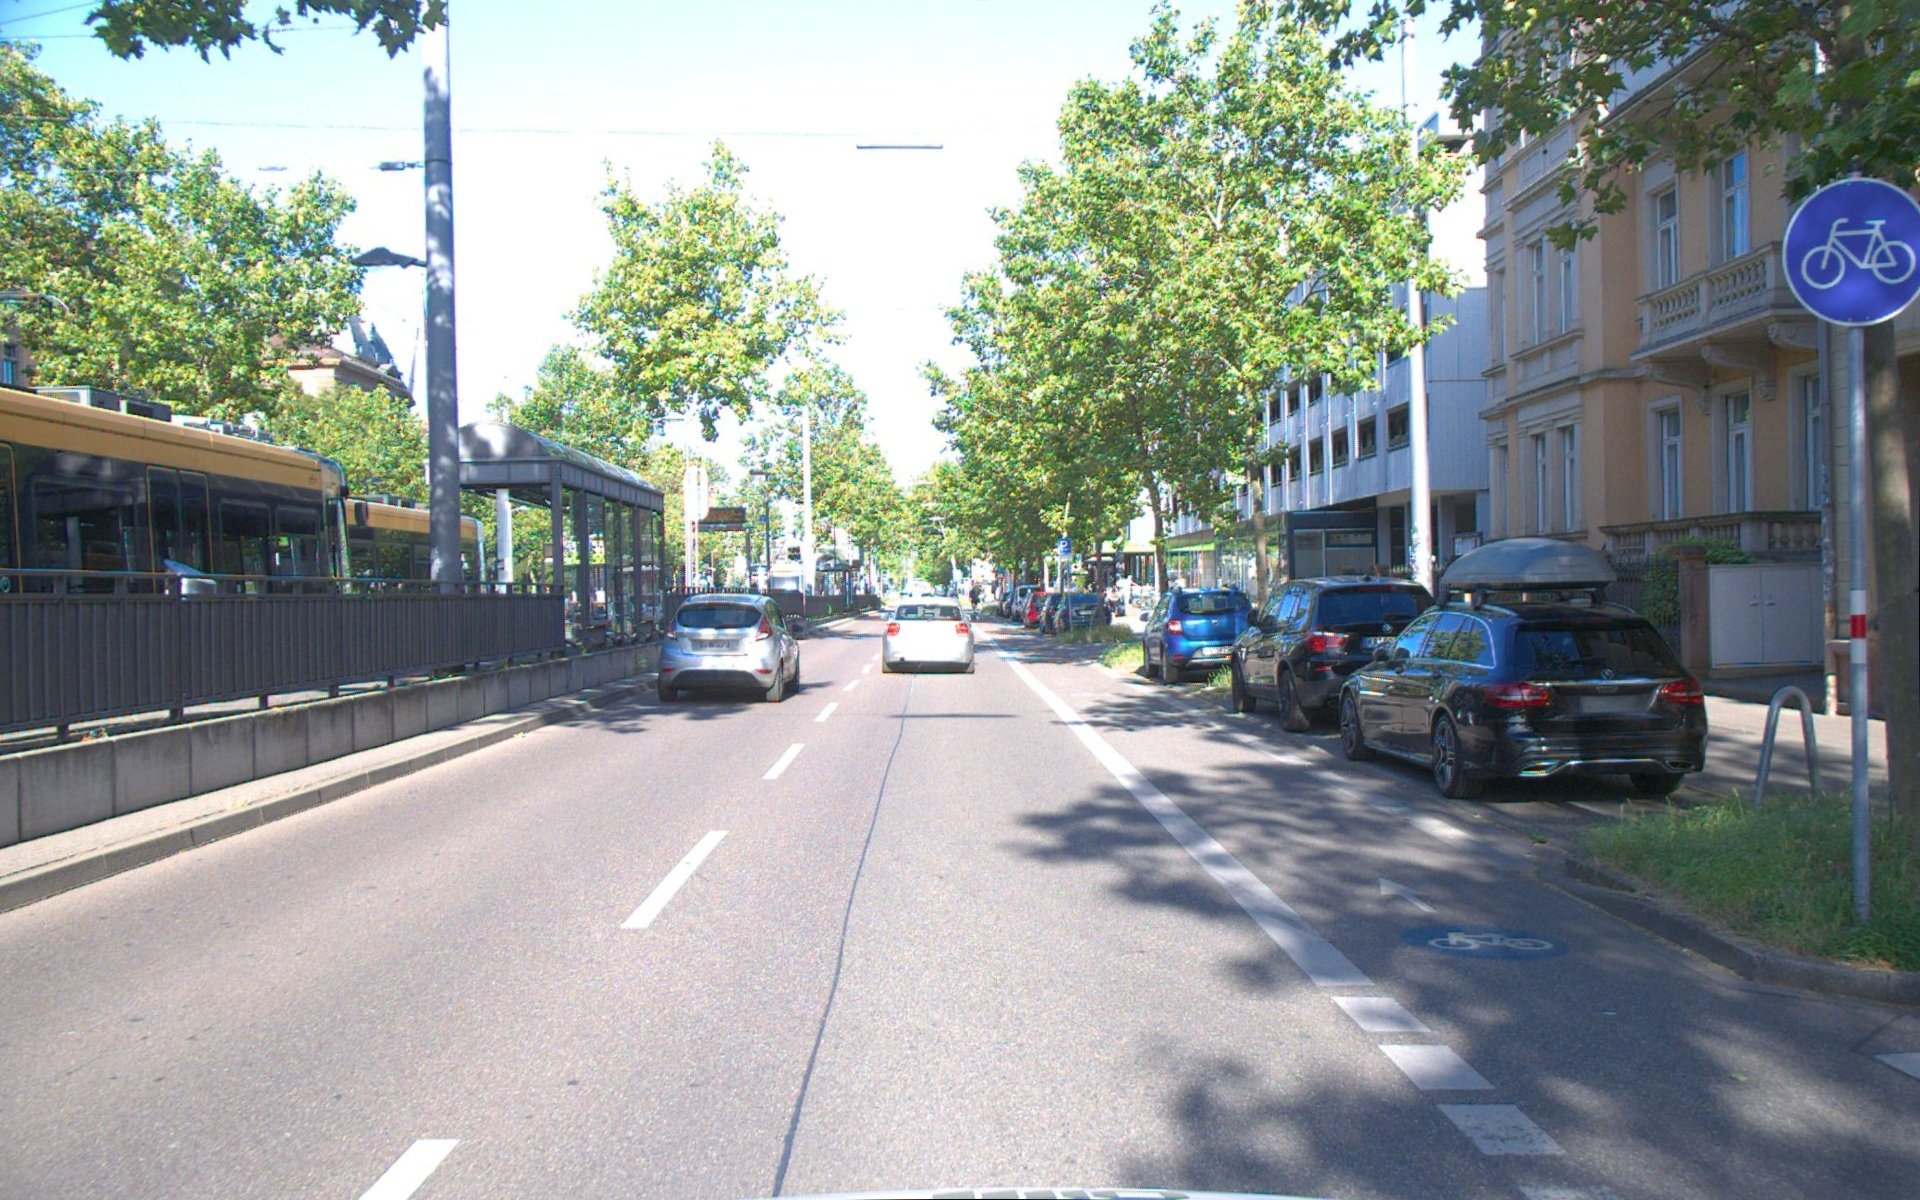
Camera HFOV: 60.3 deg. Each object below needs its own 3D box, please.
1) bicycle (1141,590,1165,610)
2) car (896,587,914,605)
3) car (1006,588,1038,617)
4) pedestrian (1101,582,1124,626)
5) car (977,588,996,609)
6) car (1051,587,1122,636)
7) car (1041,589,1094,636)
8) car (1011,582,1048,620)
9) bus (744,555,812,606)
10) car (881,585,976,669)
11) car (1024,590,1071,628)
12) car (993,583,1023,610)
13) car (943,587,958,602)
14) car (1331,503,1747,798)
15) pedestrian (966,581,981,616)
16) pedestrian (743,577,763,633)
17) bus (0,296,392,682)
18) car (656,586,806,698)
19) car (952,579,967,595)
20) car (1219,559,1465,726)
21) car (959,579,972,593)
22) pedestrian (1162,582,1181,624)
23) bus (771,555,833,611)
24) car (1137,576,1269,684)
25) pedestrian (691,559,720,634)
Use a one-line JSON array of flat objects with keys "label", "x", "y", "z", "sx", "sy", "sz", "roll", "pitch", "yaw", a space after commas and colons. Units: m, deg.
[{"label": "bicycle", "x": 10.997, "y": -0.005, "z": 94.307, "sx": 1.355, "sy": 1.074, "sz": 0.243, "roll": 1, "pitch": 1, "yaw": -2}, {"label": "car", "x": -6.456, "y": -0.485, "z": 195.259, "sx": 1.953, "sy": 2.048, "sz": 4.000, "roll": 1, "pitch": 1, "yaw": -1}, {"label": "car", "x": 3.556, "y": 0.116, "z": 95.415, "sx": 1.676, "sy": 1.590, "sz": 4.000, "roll": 1, "pitch": 1, "yaw": 0}, {"label": "pedestrian", "x": 7.108, "y": 0.189, "z": 76.966, "sx": 0.944, "sy": 2.049, "sz": 0.938, "roll": -1, "pitch": 0, "yaw": -1}, {"label": "car", "x": 2.770, "y": -0.149, "z": 173.081, "sx": 1.953, "sy": 2.048, "sz": 4.000, "roll": 1, "pitch": 1, "yaw": -1}, {"label": "car", "x": 4.176, "y": 0.369, "z": 55.083, "sx": 1.953, "sy": 1.535, "sz": 4.597, "roll": 1, "pitch": 0, "yaw": 0}, {"label": "car", "x": 3.875, "y": 0.434, "z": 60.302, "sx": 1.635, "sy": 1.578, "sz": 4.000, "roll": 1, "pitch": 1, "yaw": 0}, {"label": "car", "x": 3.602, "y": 0.020, "z": 85.967, "sx": 1.689, "sy": 1.913, "sz": 4.000, "roll": 1, "pitch": 0, "yaw": 0}, {"label": "bus", "x": -14.376, "y": -1.621, "z": 132.904, "sx": 2.810, "sy": 3.691, "sz": 24.602, "roll": -1, "pitch": 1, "yaw": 0}, {"label": "car", "x": -0.619, "y": 0.481, "z": 32.277, "sx": 1.726, "sy": 1.457, "sz": 3.999, "roll": 1, "pitch": 1, "yaw": -1}, {"label": "car", "x": 3.703, "y": 0.360, "z": 70.673, "sx": 1.769, "sy": 1.547, "sz": 4.000, "roll": 1, "pitch": 0, "yaw": -1}, {"label": "car", "x": 2.943, "y": -0.246, "z": 102.271, "sx": 1.666, "sy": 1.561, "sz": 3.716, "roll": 1, "pitch": 1, "yaw": -1}, {"label": "car", "x": -1.321, "y": -0.745, "z": 231.855, "sx": 2.029, "sy": 2.049, "sz": 4.000, "roll": -1, "pitch": 0, "yaw": 0}, {"label": "car", "x": 4.490, "y": 0.304, "z": 13.665, "sx": 1.719, "sy": 1.999, "sz": 4.737, "roll": 0, "pitch": 1, "yaw": -1}, {"label": "pedestrian", "x": 0.835, "y": -0.101, "z": 99.943, "sx": 0.820, "sy": 2.048, "sz": 0.649, "roll": 1, "pitch": 1, "yaw": 6}, {"label": "pedestrian", "x": -7.408, "y": 0.172, "z": 59.217, "sx": 0.626, "sy": 1.988, "sz": 0.813, "roll": 1, "pitch": 1, "yaw": -1}, {"label": "bus", "x": -10.147, "y": -1.021, "z": 19.673, "sx": 2.810, "sy": 3.504, "sz": 11.610, "roll": -1, "pitch": 0, "yaw": 0}, {"label": "car", "x": -3.169, "y": 0.535, "z": 23.542, "sx": 1.613, "sy": 1.386, "sz": 3.760, "roll": 1, "pitch": 1, "yaw": 0}, {"label": "car", "x": -0.080, "y": -1.731, "z": 219.356, "sx": 1.953, "sy": 2.049, "sz": 3.999, "roll": -1, "pitch": 0, "yaw": -1}, {"label": "car", "x": 4.362, "y": 0.427, "z": 19.640, "sx": 1.761, "sy": 1.730, "sz": 4.736, "roll": -1, "pitch": 0, "yaw": -1}, {"label": "car", "x": 0.753, "y": -2.074, "z": 242.541, "sx": 1.837, "sy": 2.048, "sz": 3.711, "roll": 1, "pitch": 1, "yaw": -1}, {"label": "pedestrian", "x": 10.348, "y": 0.157, "z": 80.942, "sx": 0.772, "sy": 2.049, "sz": 0.891, "roll": -1, "pitch": 0, "yaw": 0}, {"label": "bus", "x": -11.009, "y": -1.263, "z": 117.465, "sx": 2.694, "sy": 3.689, "sz": 18.846, "roll": -1, "pitch": 1, "yaw": 0}, {"label": "car", "x": 4.202, "y": 0.457, "z": 29.095, "sx": 1.657, "sy": 1.687, "sz": 4.039, "roll": -1, "pitch": 1, "yaw": -1}, {"label": "pedestrian", "x": -6.844, "y": -0.095, "z": 44.553, "sx": 0.626, "sy": 1.988, "sz": 0.813, "roll": 1, "pitch": 1, "yaw": -1}]
